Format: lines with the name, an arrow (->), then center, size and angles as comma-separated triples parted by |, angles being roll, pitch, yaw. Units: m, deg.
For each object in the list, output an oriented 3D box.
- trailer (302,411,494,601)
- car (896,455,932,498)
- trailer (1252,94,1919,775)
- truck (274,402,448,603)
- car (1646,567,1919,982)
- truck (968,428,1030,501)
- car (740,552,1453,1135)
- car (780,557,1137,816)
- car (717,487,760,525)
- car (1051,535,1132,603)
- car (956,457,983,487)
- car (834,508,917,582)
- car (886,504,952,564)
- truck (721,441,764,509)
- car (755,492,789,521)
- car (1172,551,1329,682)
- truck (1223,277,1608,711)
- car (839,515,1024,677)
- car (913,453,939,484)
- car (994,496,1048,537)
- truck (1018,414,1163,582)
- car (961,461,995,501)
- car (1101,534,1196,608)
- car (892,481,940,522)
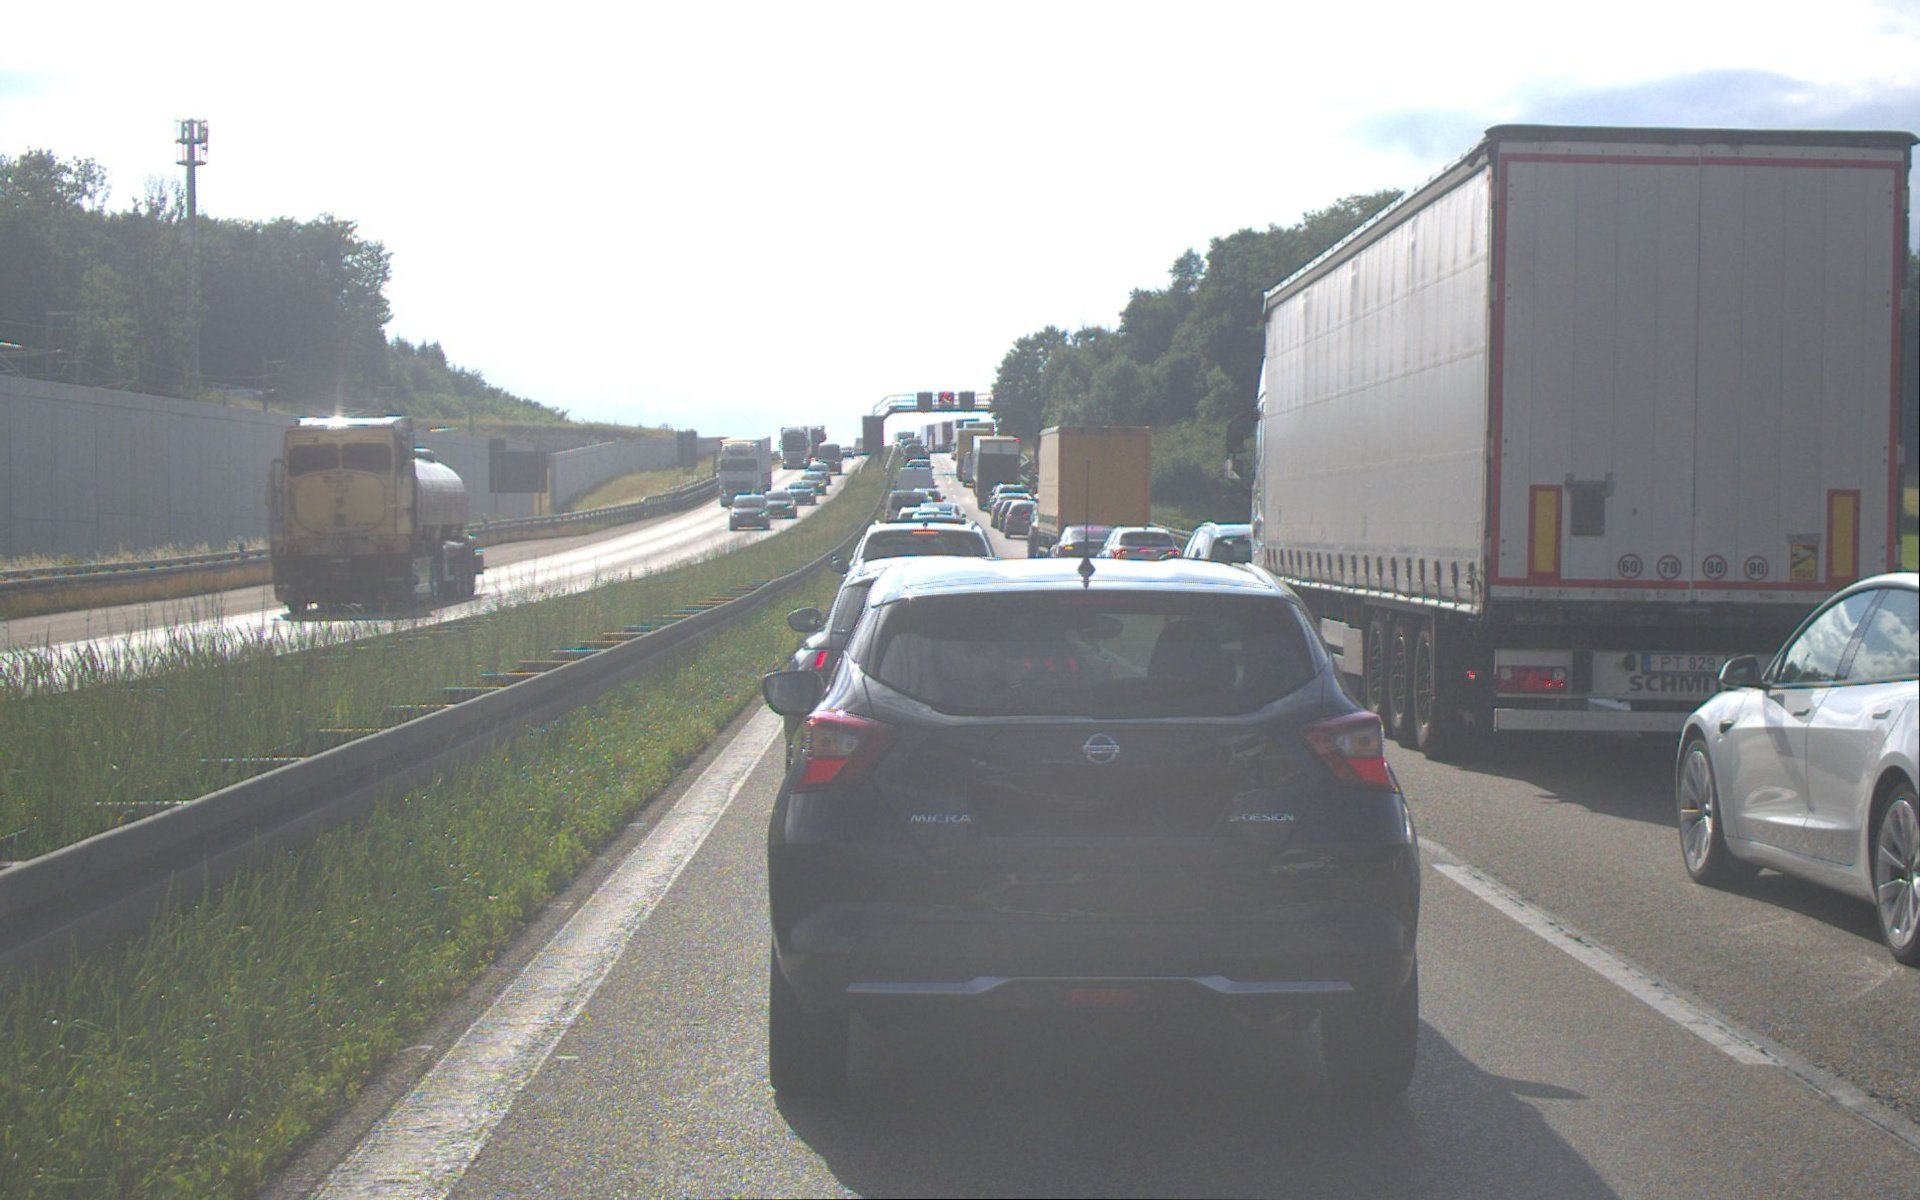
trailer -> -12.373, -2.029, 76.641 | 2.588, 3.888, 10.865 | -1, 1, -1
car -> -2.451, -6.617, 184.158 | 1.873, 2.151, 5.212 | 0, 4, -1
trailer -> 4.458, -0.975, 27.023 | 3.130, 3.997, 13.366 | 1, 0, 0
truck -> -12.260, -1.972, 70.805 | 2.582, 3.909, 5.722 | -1, 1, -1
car -> 4.119, 0.591, 13.471 | 1.788, 1.389, 4.437 | 0, 1, -3
truck -> 2.482, -8.880, 225.657 | 3.464, 4.561, 12.443 | 1, 2, -2
car -> 0.324, 0.577, 10.670 | 1.773, 1.446, 4.232 | 0, 1, 0
car -> -0.026, 0.429, 20.170 | 1.873, 1.353, 4.232 | 0, 1, 0
car -> -10.513, -4.463, 163.312 | 1.781, 1.731, 4.102 | 0, 1, 0
car -> 3.315, -0.804, 87.223 | 1.873, 1.638, 4.232 | 0, 1, 0
car -> 0.681, -9.511, 255.164 | 1.873, 2.151, 5.212 | 0, 4, -1
car -> -1.950, -1.308, 80.369 | 1.873, 1.638, 4.233 | 0, 2, 0
car -> -1.184, -1.942, 99.723 | 1.873, 1.638, 4.233 | 0, 2, 0
truck -> -13.751, -7.916, 218.121 | 2.380, 4.167, 5.932 | -1, 1, -1
car -> -10.198, -5.073, 186.379 | 1.697, 1.494, 4.427 | 0, 1, -1
car -> 3.704, 0.174, 44.484 | 1.697, 1.605, 4.437 | 0, 1, 1
truck -> 4.437, -0.988, 34.559 | 3.133, 4.002, 5.163 | 1, 0, 0
car -> -0.306, -0.069, 36.880 | 1.873, 1.638, 4.232 | 0, 1, 0
car -> -2.467, -9.636, 251.705 | 1.873, 2.151, 5.212 | 0, 4, -1
car -> 2.516, -3.494, 142.968 | 1.873, 1.638, 4.233 | 0, 2, -4
truck -> 3.707, -2.841, 100.752 | 3.296, 4.562, 12.442 | 1, 0, -2
car -> 1.054, -6.952, 200.085 | 1.873, 2.151, 5.212 | 0, 4, -1
car -> 4.245, -0.665, 77.827 | 1.873, 1.638, 4.232 | 0, 1, 0
car -> -1.814, -4.035, 140.248 | 1.873, 1.638, 4.233 | 0, 2, -2
